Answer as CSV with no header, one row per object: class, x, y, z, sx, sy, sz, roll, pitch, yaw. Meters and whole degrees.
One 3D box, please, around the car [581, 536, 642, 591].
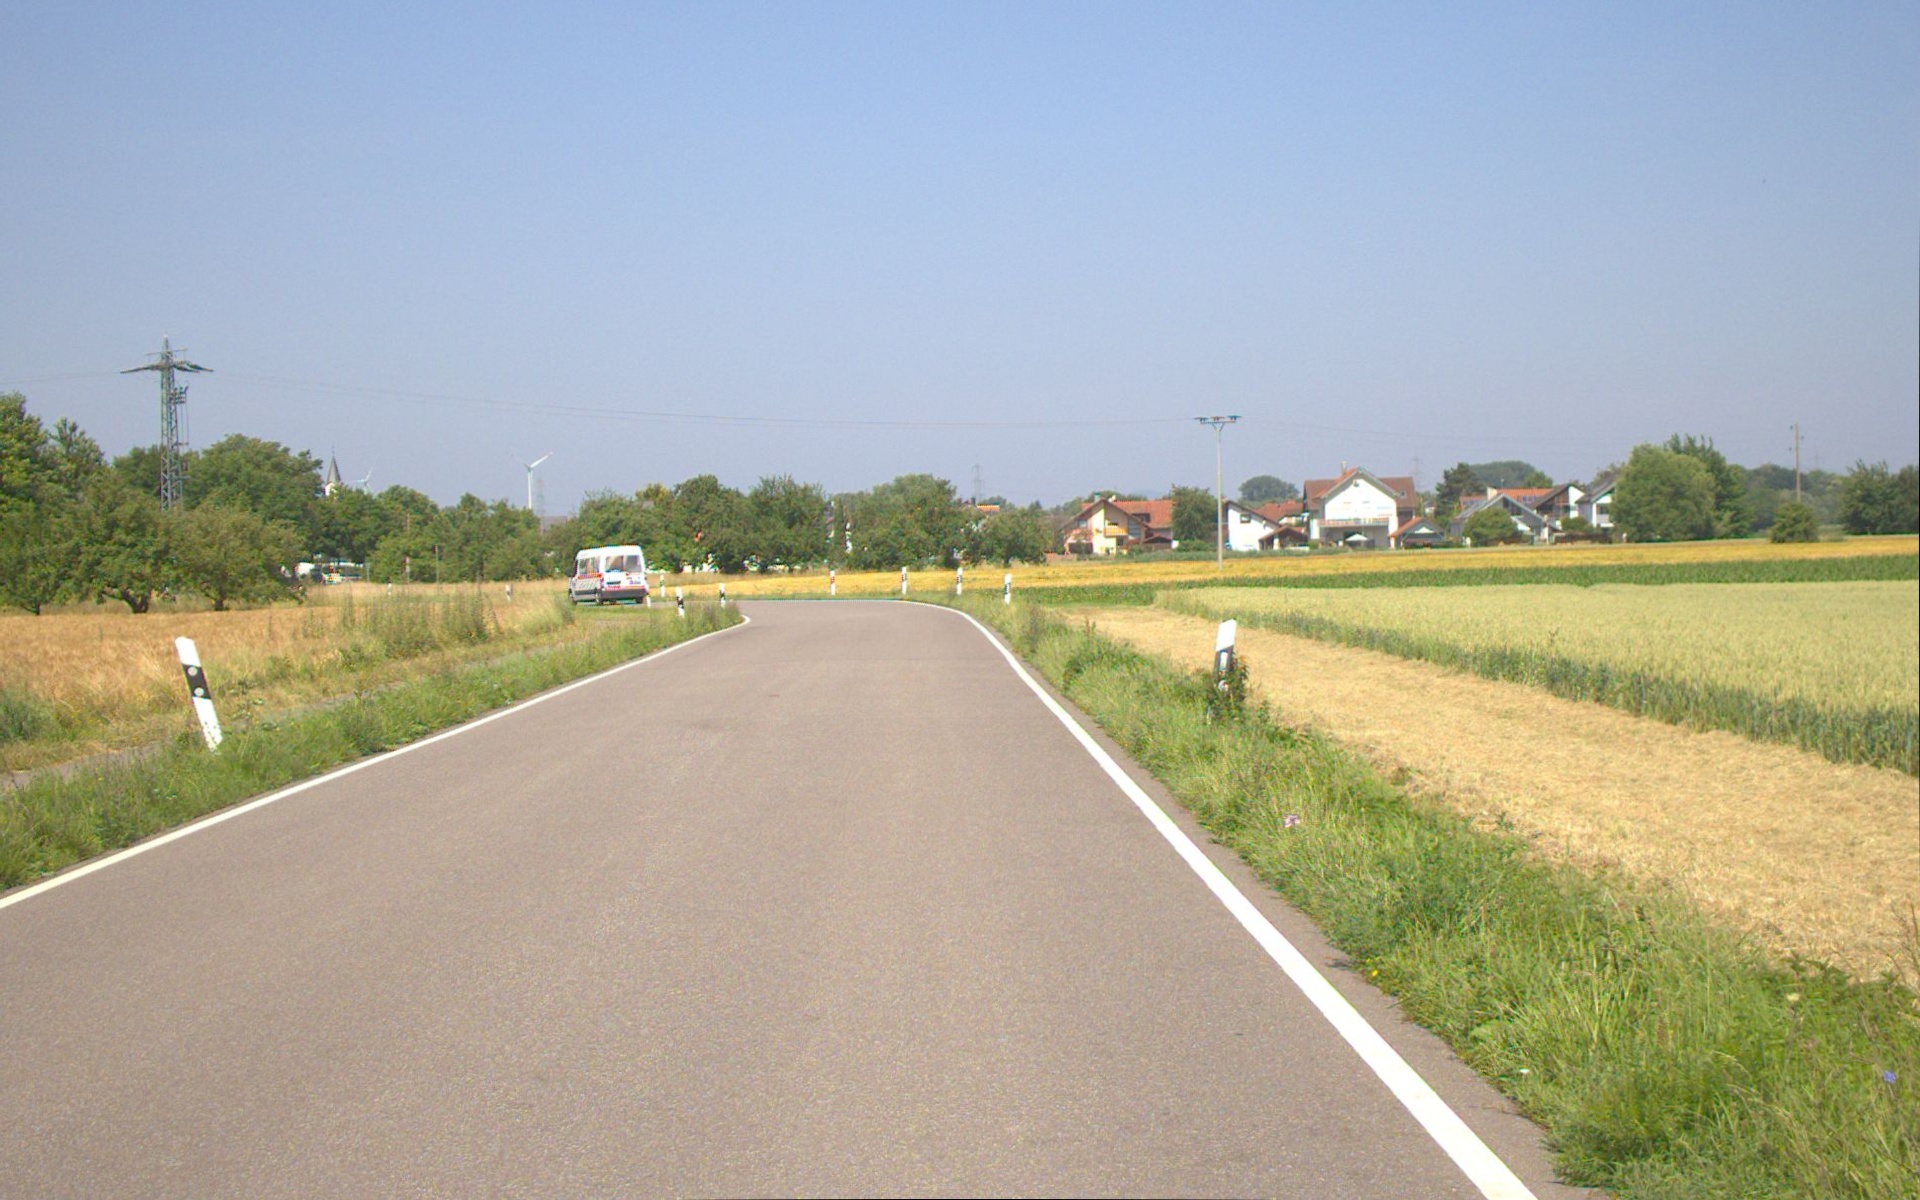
car,-14.881,-1.556,146.581,2.106,2.296,5.497,0,1,-11
